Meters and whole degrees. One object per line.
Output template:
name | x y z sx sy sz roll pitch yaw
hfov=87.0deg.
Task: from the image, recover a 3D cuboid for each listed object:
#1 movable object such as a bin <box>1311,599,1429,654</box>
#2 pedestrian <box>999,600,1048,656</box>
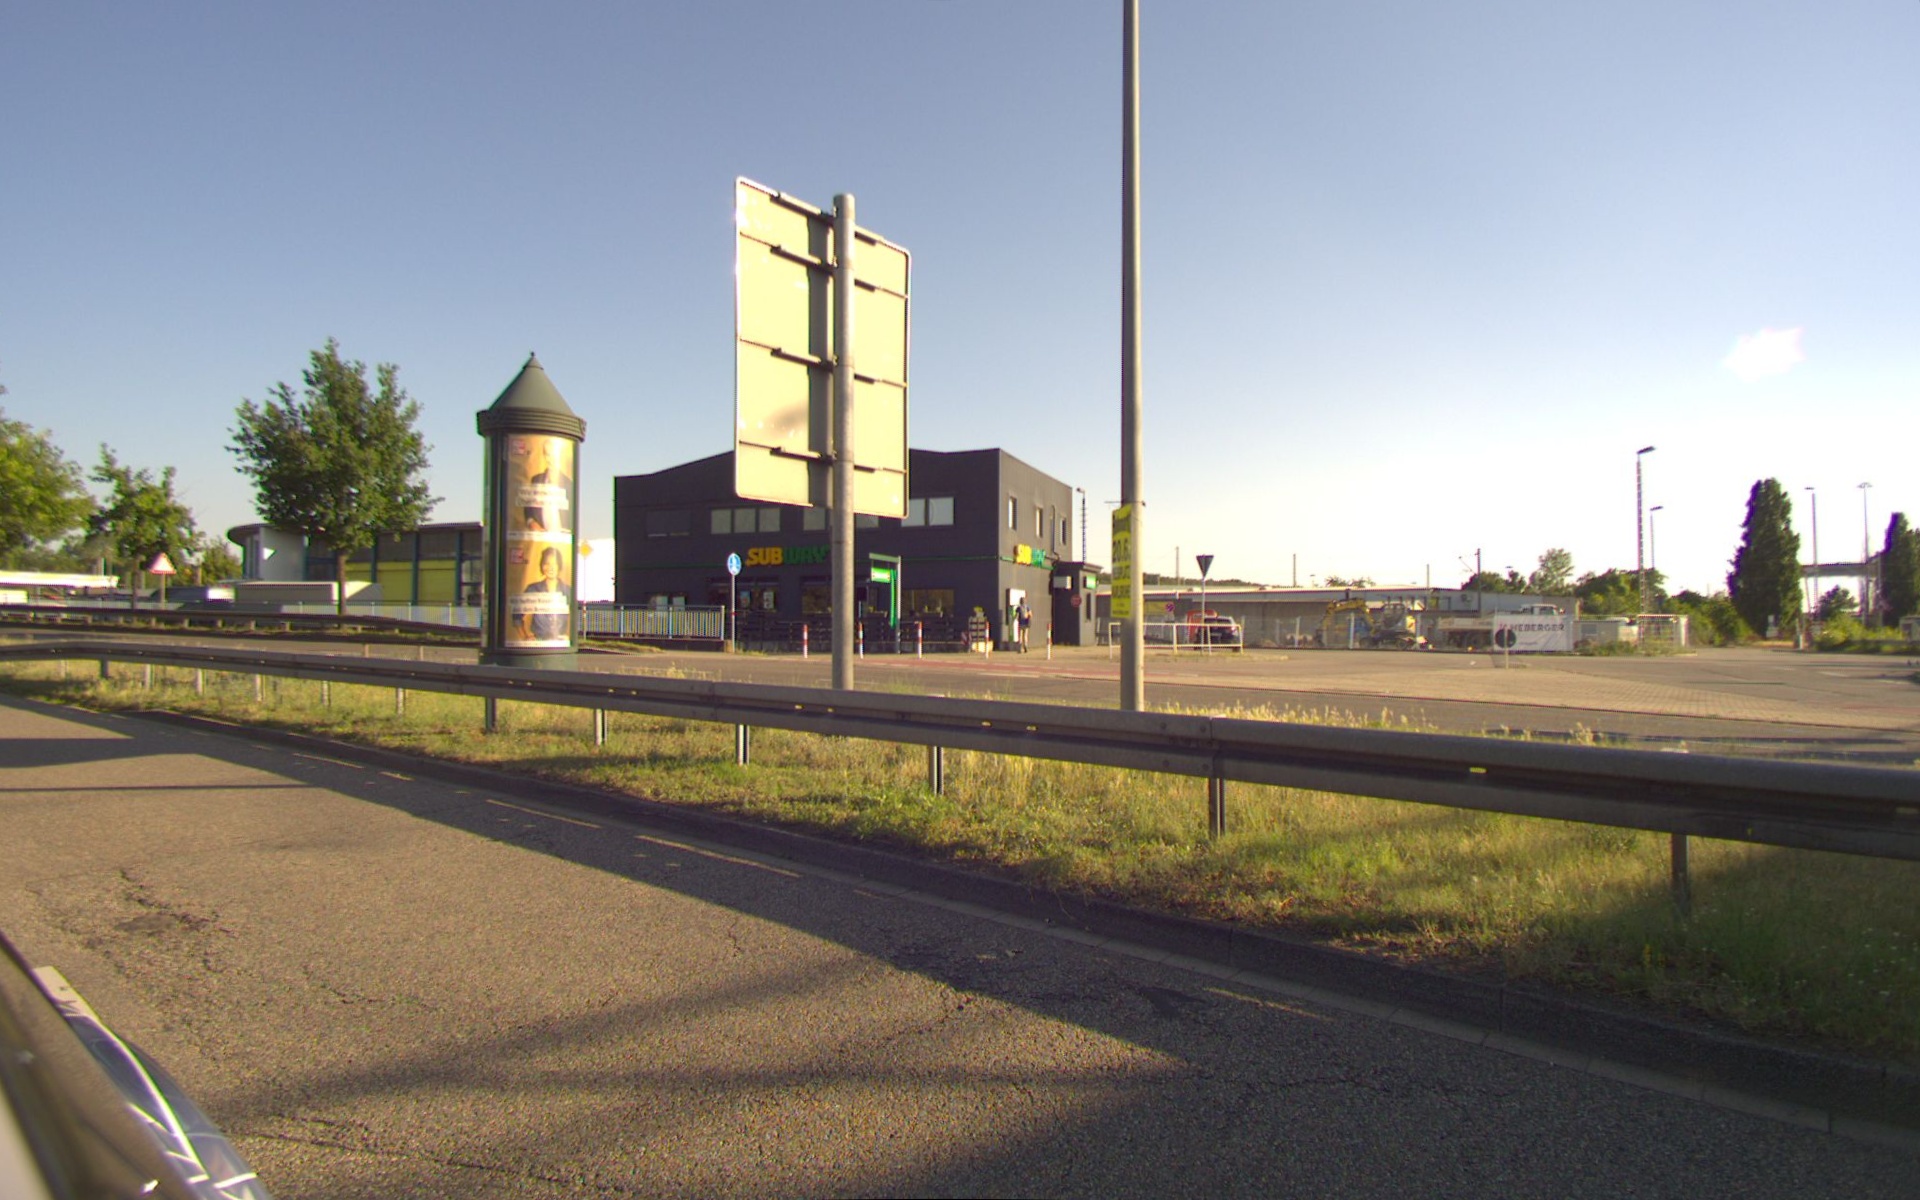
movable object such as a bin | 25.227 1.606 62.466 6.587 3.241 2.428 -1 0 23
pedestrian | 2.149 0.926 34.175 1.085 1.849 1.258 -1 0 42
